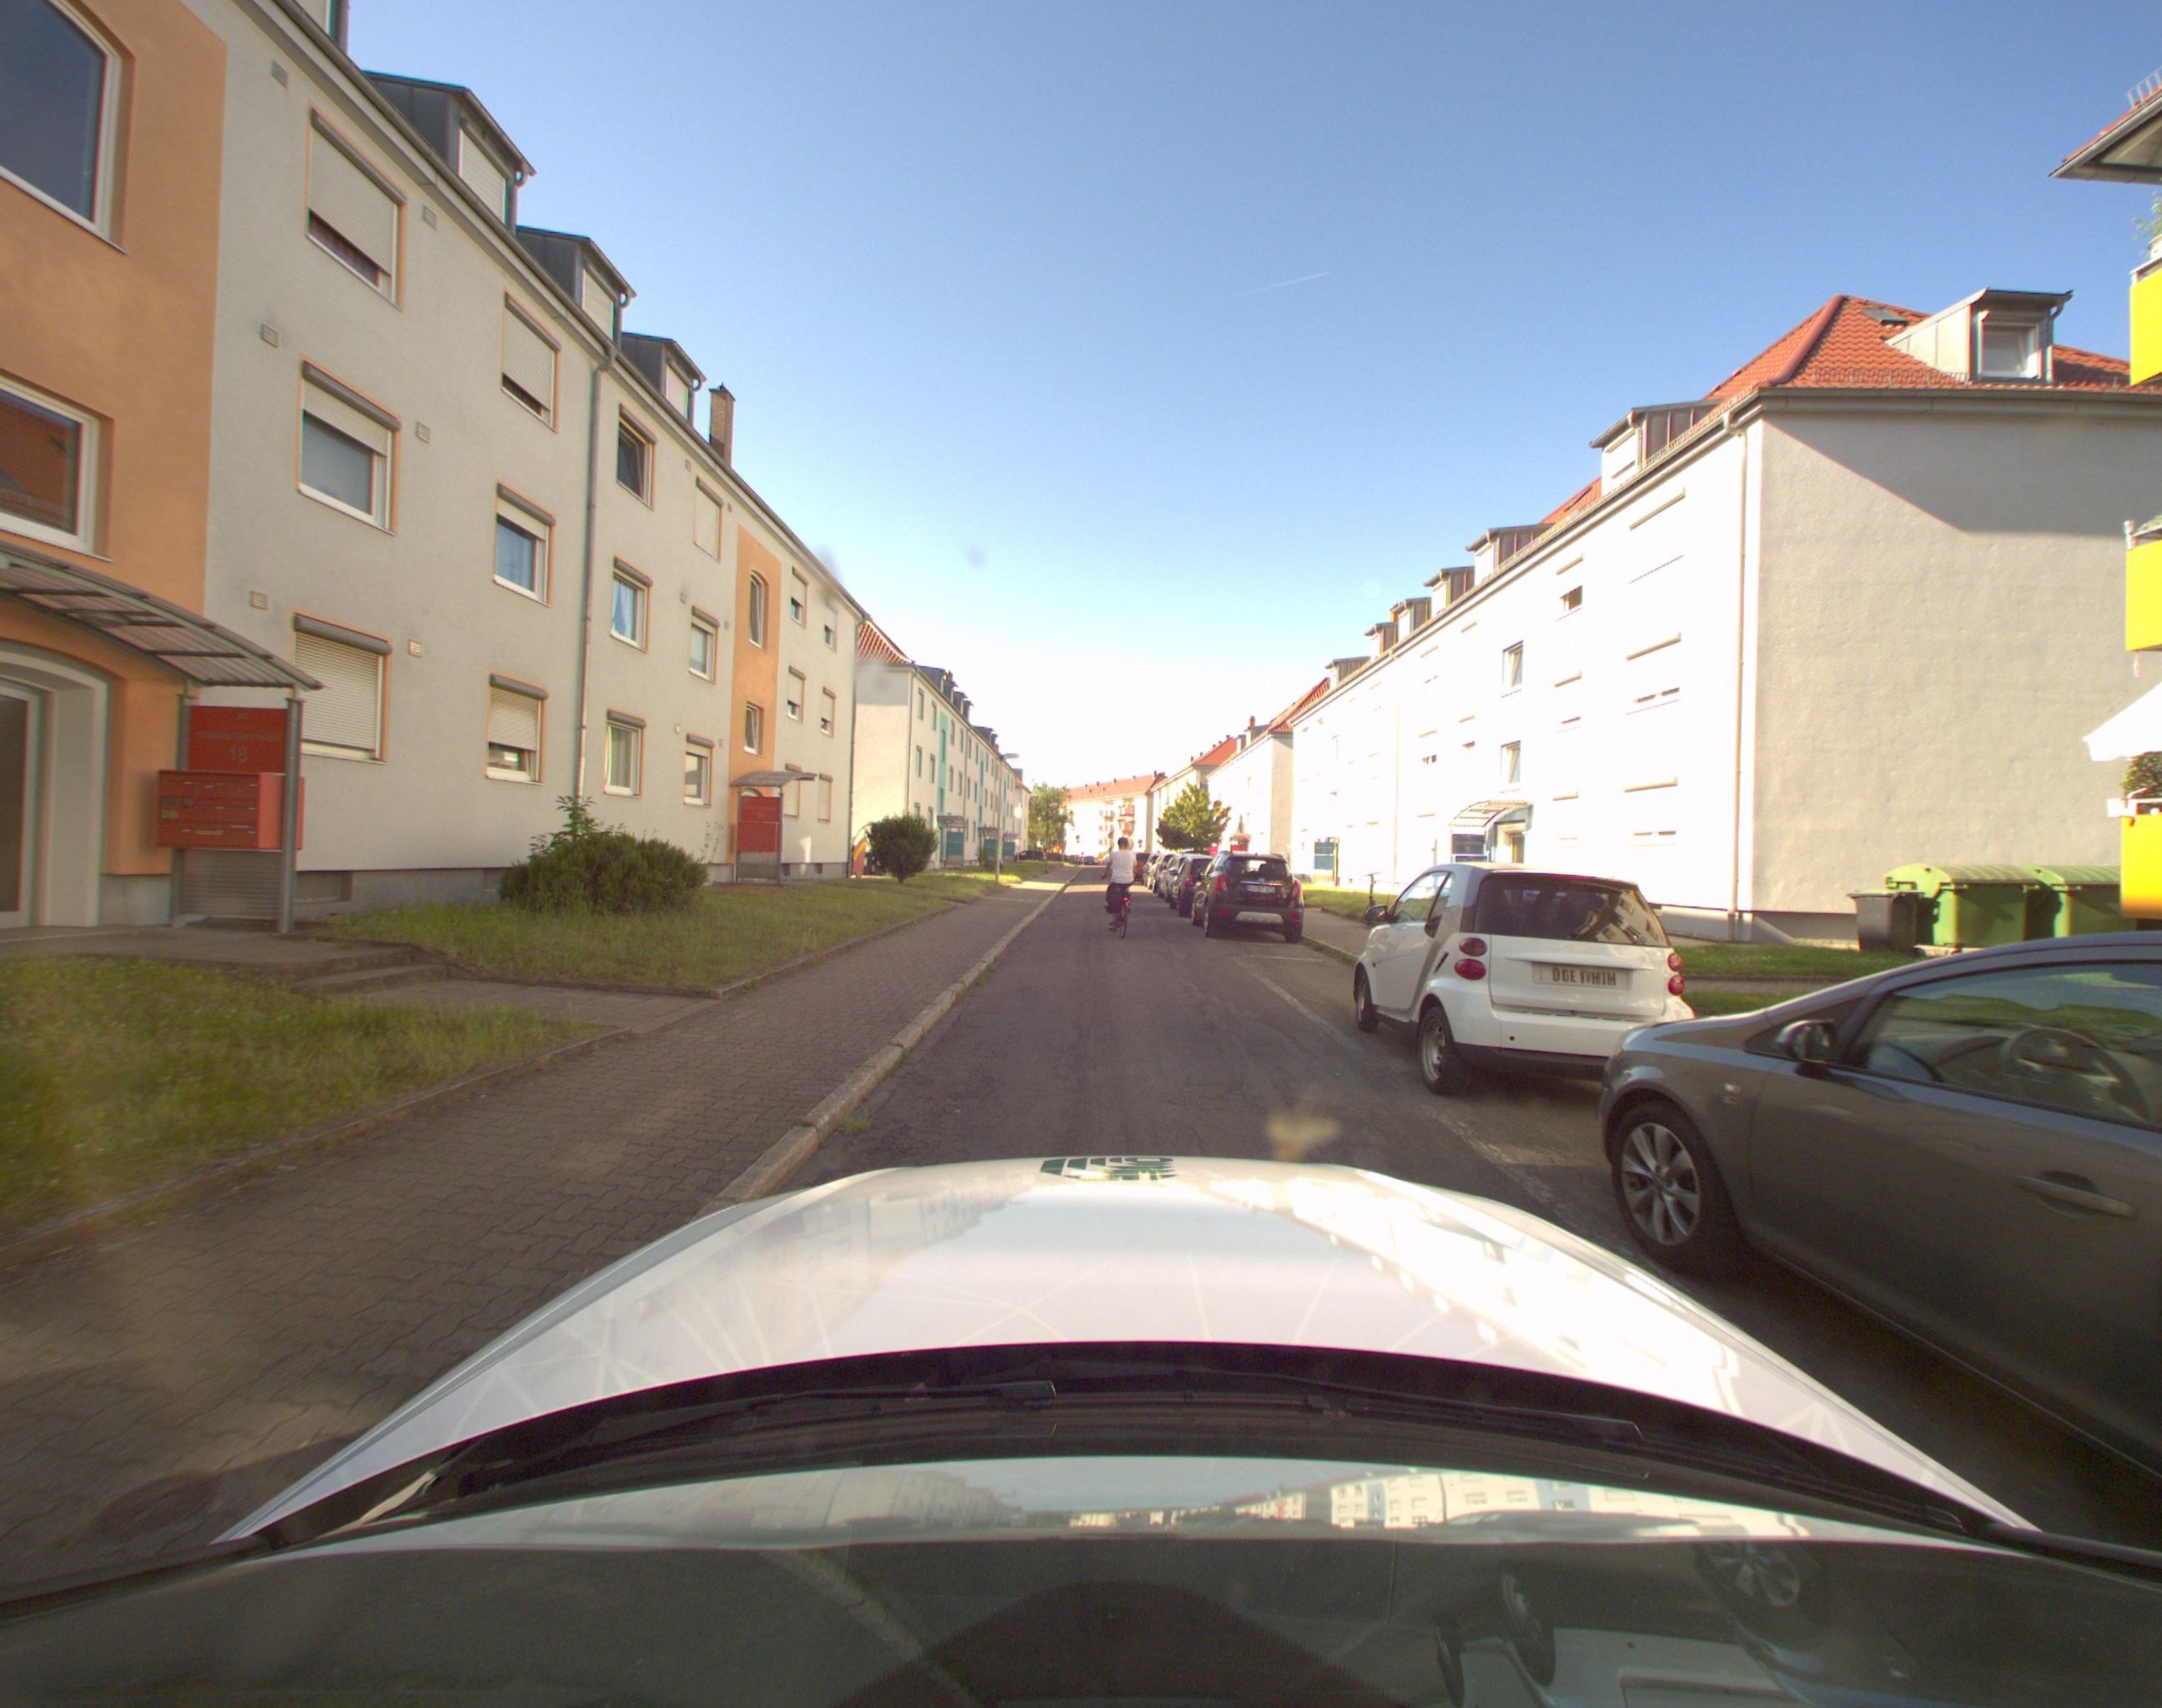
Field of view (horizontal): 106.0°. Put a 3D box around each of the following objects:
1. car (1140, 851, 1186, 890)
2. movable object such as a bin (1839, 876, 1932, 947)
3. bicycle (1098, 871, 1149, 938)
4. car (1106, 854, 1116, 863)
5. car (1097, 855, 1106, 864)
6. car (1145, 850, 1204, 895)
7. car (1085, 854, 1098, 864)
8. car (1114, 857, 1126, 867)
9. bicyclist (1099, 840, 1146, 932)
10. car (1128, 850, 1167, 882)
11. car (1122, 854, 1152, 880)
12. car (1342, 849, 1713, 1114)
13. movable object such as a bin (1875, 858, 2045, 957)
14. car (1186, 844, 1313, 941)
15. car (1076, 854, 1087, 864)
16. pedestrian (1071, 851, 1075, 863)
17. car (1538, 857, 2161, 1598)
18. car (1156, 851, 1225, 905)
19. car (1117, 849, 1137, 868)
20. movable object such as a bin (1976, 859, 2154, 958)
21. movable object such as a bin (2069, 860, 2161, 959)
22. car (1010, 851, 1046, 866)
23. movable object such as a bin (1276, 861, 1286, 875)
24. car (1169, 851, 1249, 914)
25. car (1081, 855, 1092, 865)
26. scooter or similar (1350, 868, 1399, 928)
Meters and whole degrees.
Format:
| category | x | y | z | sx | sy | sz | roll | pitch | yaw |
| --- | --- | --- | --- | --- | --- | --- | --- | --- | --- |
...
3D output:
| category | x | y | z | sx | sy | sz | roll | pitch | yaw |
| --- | --- | --- | --- | --- | --- | --- | --- | --- | --- |
| car | 3.815 | 0.723 | 38.389 | 1.706 | 1.595 | 4.398 | 4 | 0 | 1 |
| movable object such as a bin | 12.232 | 0.863 | 12.402 | 0.640 | 1.035 | 0.757 | -1 | -2 | 1 |
| bicycle | 0.761 | 0.900 | 15.278 | 0.806 | 1.128 | 2.101 | 0 | 0 | -1 |
| car | 4.727 | 0.713 | 129.904 | 1.377 | 1.497 | 3.076 | 2 | 0 | -1 |
| car | 3.592 | 1.024 | 142.560 | 1.465 | 1.516 | 3.076 | 2 | 0 | -1 |
| car | 3.760 | 0.712 | 33.389 | 1.745 | 1.617 | 4.450 | 3 | 0 | -1 |
| car | 1.449 | 0.654 | 113.457 | 1.466 | 1.335 | 3.137 | -2 | 0 | -3 |
| car | 5.890 | 1.188 | 122.960 | 1.465 | 1.335 | 3.140 | 2 | 0 | -1 |
| bicyclist | 0.761 | 0.574 | 15.123 | 0.806 | 1.643 | 0.898 | 0 | 0 | -1 |
| car | 3.724 | 0.639 | 46.262 | 1.855 | 1.668 | 4.128 | 3 | 0 | 1 |
| car | 3.869 | 0.882 | 56.846 | 1.695 | 1.671 | 4.378 | 2 | 0 | 0 |
| car | 3.193 | 0.772 | 6.455 | 1.473 | 1.529 | 2.945 | 3 | 0 | 5 |
| movable object such as a bin | 13.223 | 0.793 | 12.308 | 1.323 | 1.407 | 1.106 | -1 | -2 | 1 |
| car | 3.266 | 0.667 | 16.634 | 1.776 | 1.648 | 4.471 | 2 | 0 | 2 |
| car | 0.031 | 0.743 | 124.496 | 1.466 | 1.335 | 3.138 | -3 | 0 | -3 |
| pedestrian | -1.087 | 0.435 | 109.551 | 0.433 | 1.574 | 0.543 | 0 | 0 | 1 |
| car | 3.088 | 0.814 | 1.979 | 1.688 | 1.491 | 3.984 | 3 | 0 | 0 |
| car | 3.594 | 0.724 | 27.337 | 1.685 | 1.575 | 4.434 | 2 | 0 | 0 |
| car | 4.515 | 0.448 | 80.550 | 1.669 | 1.738 | 3.941 | 2 | 0 | -1 |
| movable object such as a bin | 14.703 | 0.803 | 12.221 | 1.338 | 1.412 | 1.055 | -1 | -2 | 1 |
| movable object such as a bin | 16.204 | 0.810 | 12.204 | 1.338 | 1.426 | 1.143 | -1 | -2 | 1 |
| car | -6.144 | 0.552 | 94.774 | 4.222 | 1.638 | 1.581 | 1 | 0 | -3 |
| movable object such as a bin | 13.313 | 0.914 | 54.242 | 0.521 | 0.886 | 0.633 | 1 | 0 | 1 |
| car | 3.304 | 0.683 | 21.732 | 1.635 | 1.498 | 4.159 | 1 | 0 | 2 |
| car | 0.773 | 0.892 | 117.827 | 1.466 | 1.335 | 3.137 | -3 | 0 | -3 |
| scooter or similar | 6.207 | 0.909 | 17.289 | 0.482 | 1.149 | 1.589 | -2 | 0 | 2 |
